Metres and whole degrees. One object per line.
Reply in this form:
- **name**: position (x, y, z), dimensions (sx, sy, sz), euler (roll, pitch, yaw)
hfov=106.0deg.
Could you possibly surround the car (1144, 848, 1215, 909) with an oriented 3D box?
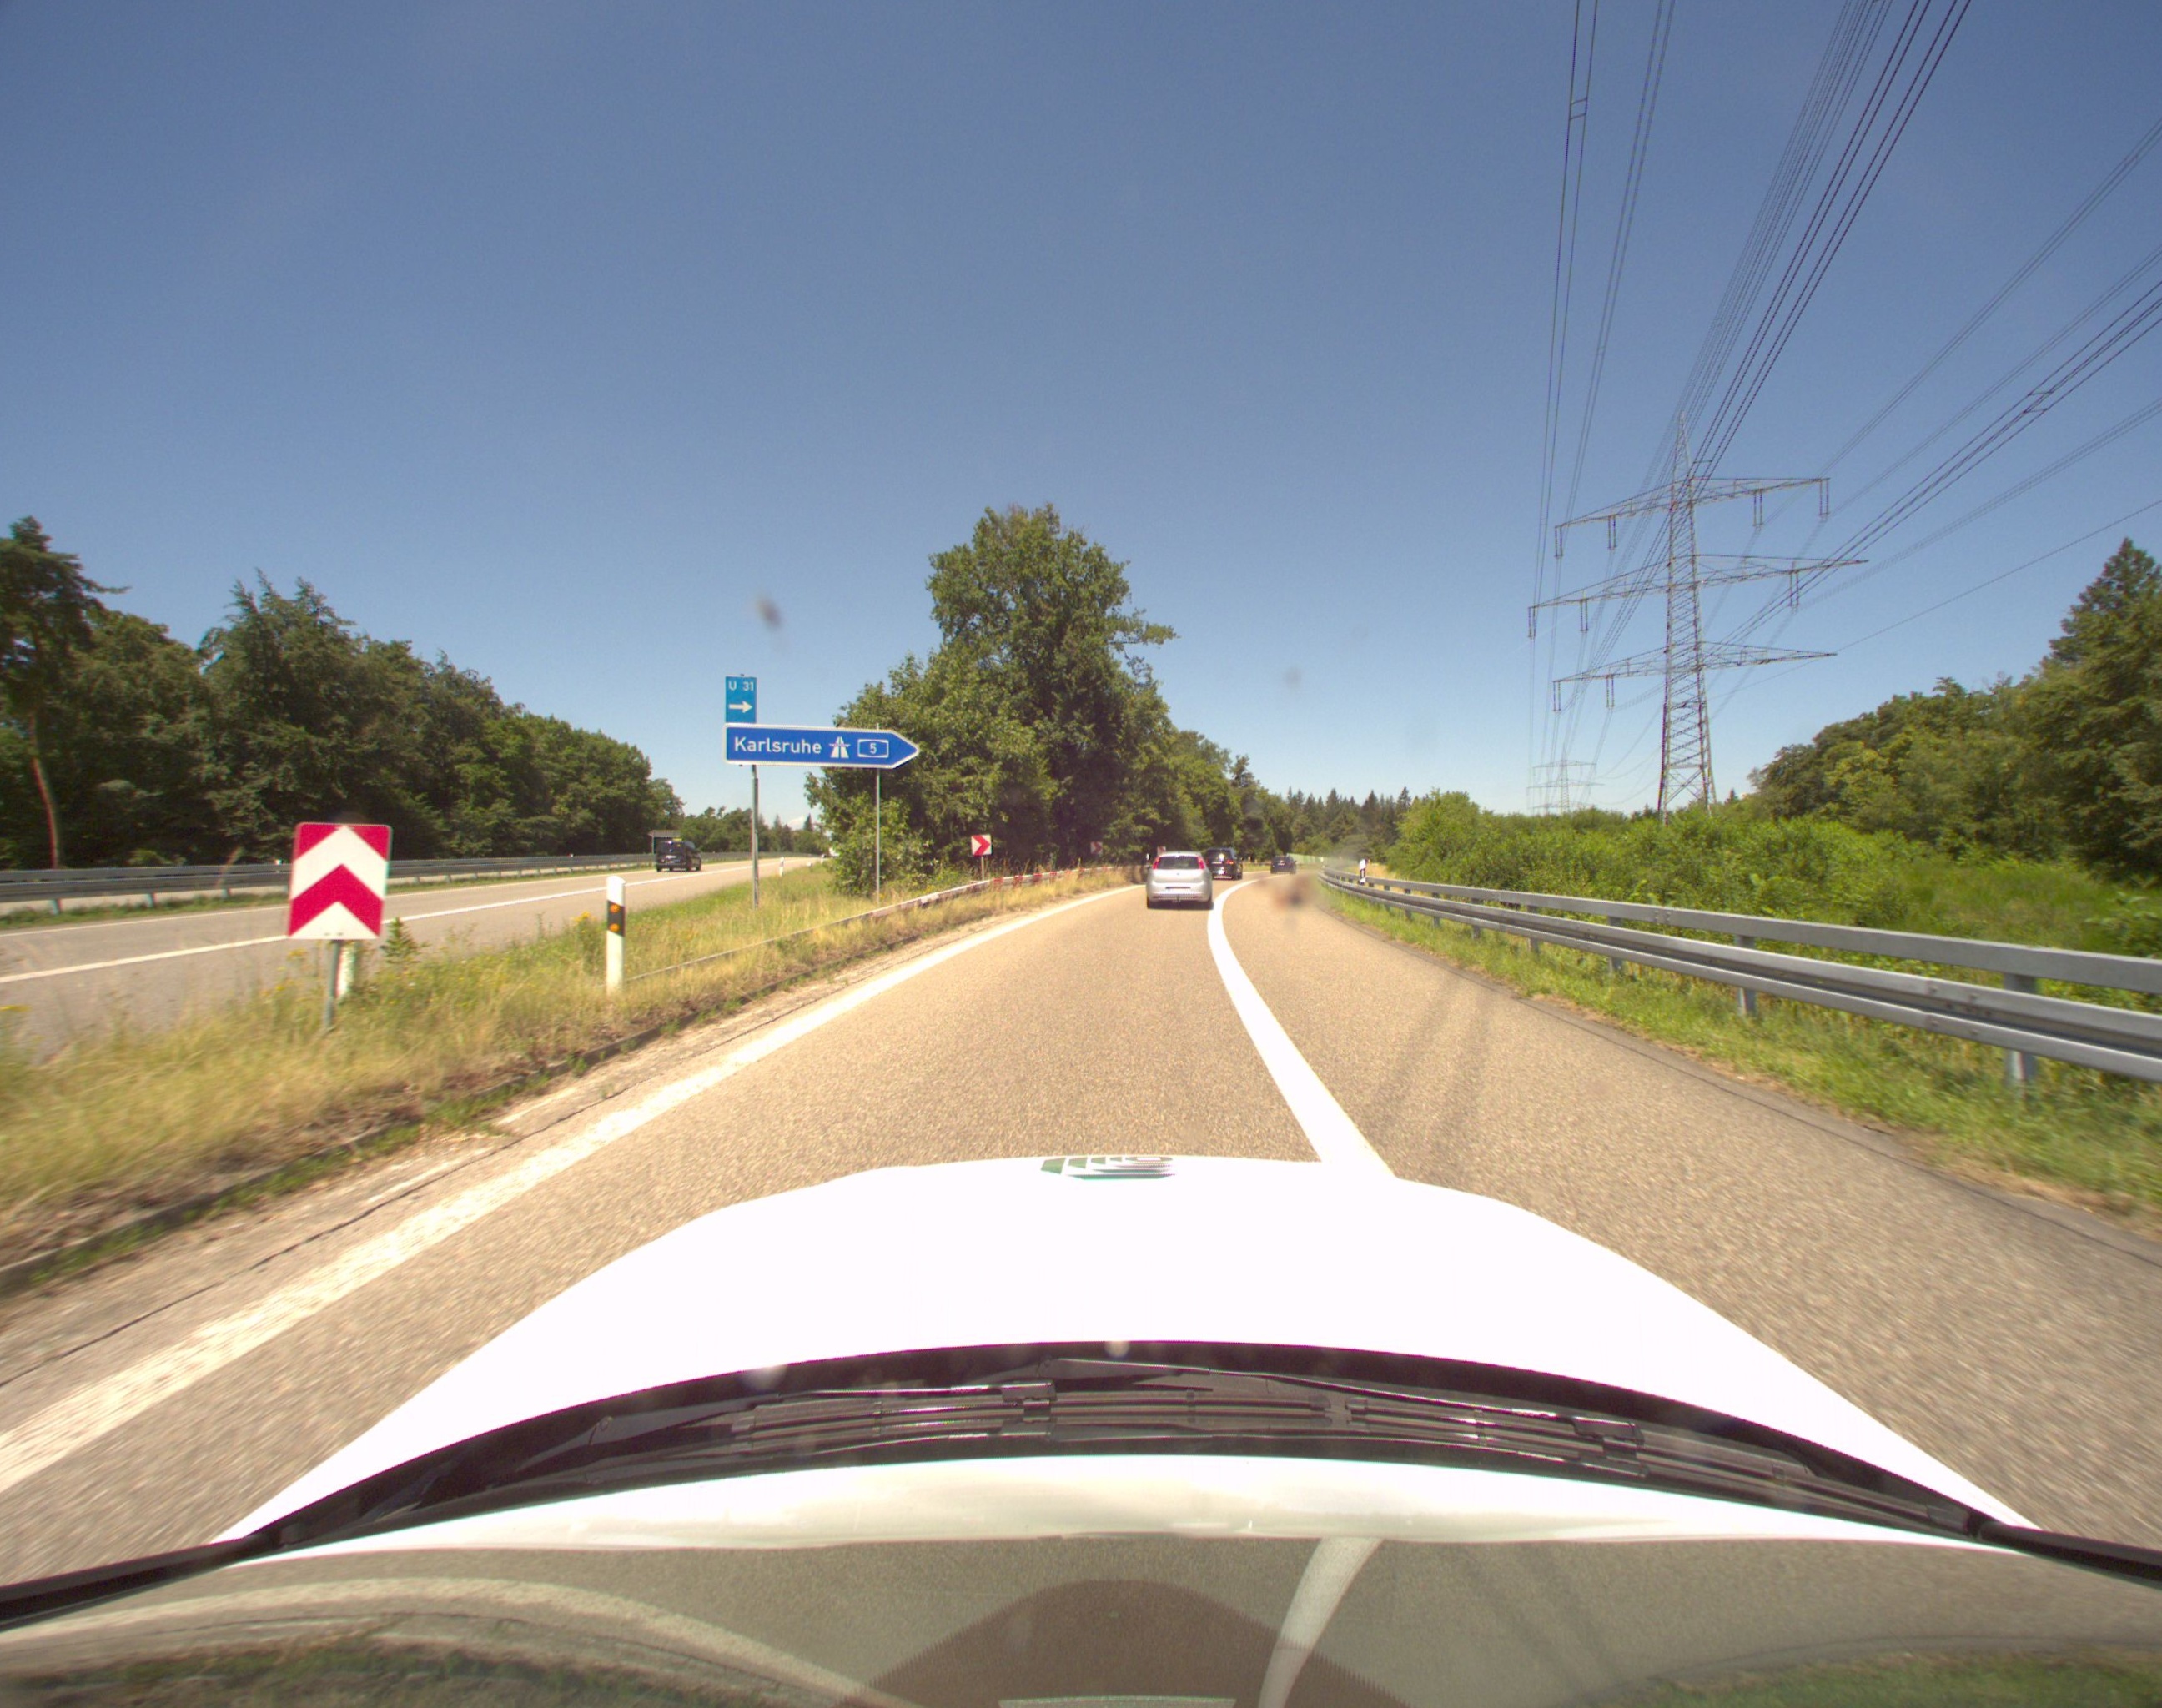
- **car**: position (2.710, 0.599, 21.829), dimensions (1.630, 1.468, 3.429), euler (1, 0, 11)

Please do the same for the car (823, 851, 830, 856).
- **car**: position (-73.358, -0.192, 234.978), dimensions (1.715, 1.471, 3.557), euler (1, 0, -14)

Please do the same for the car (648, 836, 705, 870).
- **car**: position (-24.294, -0.089, 49.118), dimensions (1.857, 1.887, 5.547), euler (-1, 1, -14)

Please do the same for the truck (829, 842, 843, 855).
- **truck**: position (-52.113, -1.171, 173.496), dimensions (2.623, 2.642, 7.628), euler (-1, 1, -15)

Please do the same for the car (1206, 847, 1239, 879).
- **car**: position (7.880, 0.471, 45.063), dimensions (1.629, 1.653, 3.585), euler (1, 0, 12)

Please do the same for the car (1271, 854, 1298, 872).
- **car**: position (16.078, 0.709, 64.227), dimensions (1.626, 1.342, 3.592), euler (1, 0, 21)
